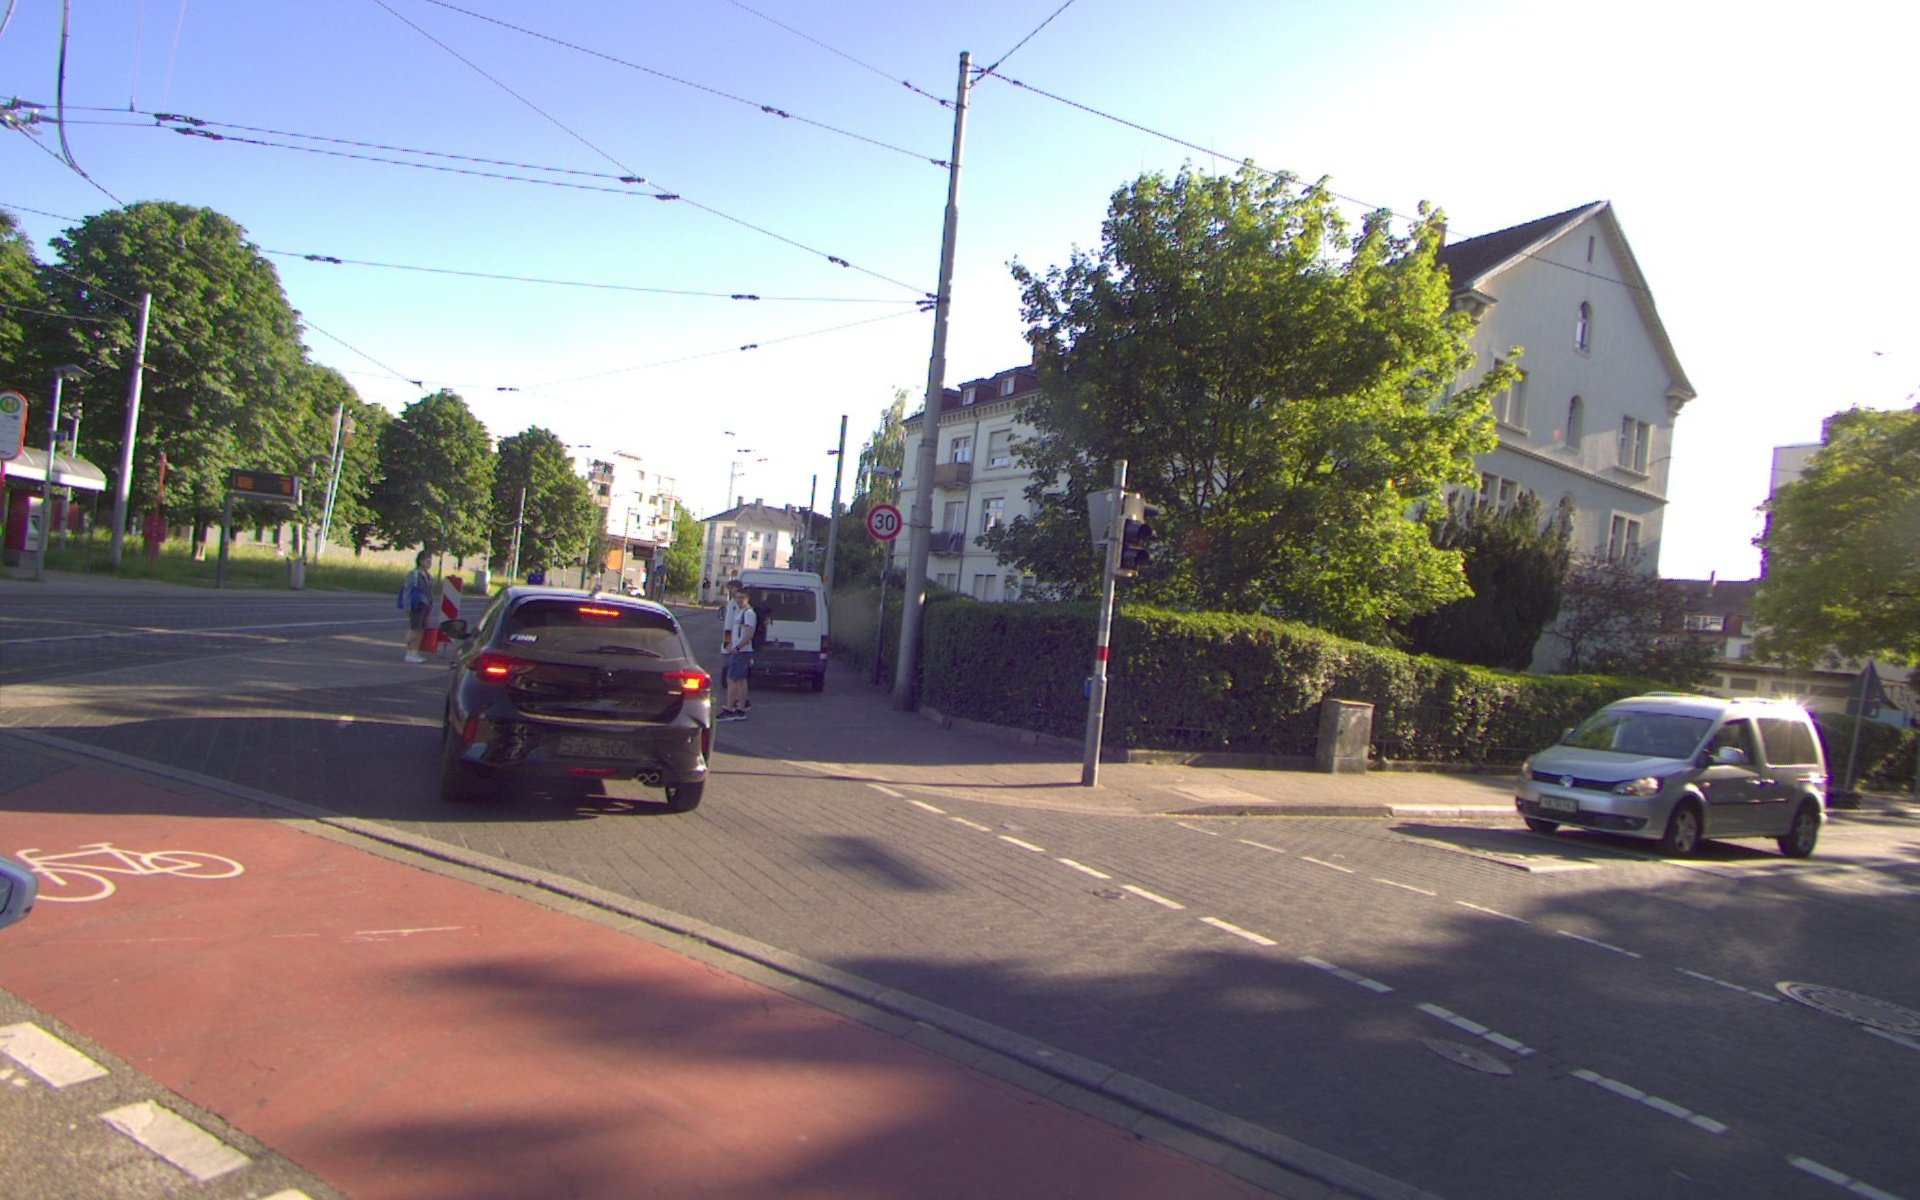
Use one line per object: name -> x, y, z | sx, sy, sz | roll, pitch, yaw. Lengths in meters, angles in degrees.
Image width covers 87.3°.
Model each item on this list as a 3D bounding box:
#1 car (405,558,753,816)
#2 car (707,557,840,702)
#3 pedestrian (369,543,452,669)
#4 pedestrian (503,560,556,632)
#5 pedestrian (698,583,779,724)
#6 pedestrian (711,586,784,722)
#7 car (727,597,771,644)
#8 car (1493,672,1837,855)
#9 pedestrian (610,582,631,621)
car -> -3.176, 0.522, 7.829 | 1.787, 1.458, 3.910 | 7, -1, -30
car -> -3.780, 0.590, 19.933 | 2.063, 2.303, 4.299 | 8, -3, -13
pedestrian -> -7.945, 0.081, 14.544 | 0.691, 1.713, 0.724 | 6, 0, 43
pedestrian -> -11.696, -0.107, 27.379 | 0.945, 1.814, 0.994 | 7, -1, -12
pedestrian -> -3.007, 0.729, 13.661 | 0.695, 1.814, 0.611 | 7, 0, -38
pedestrian -> -3.095, 0.780, 14.683 | 0.691, 1.868, 0.701 | 6, 0, 2
car -> -10.084, 0.960, 47.898 | 1.777, 1.950, 3.931 | 7, -1, -13
car -> 8.687, 2.005, 12.332 | 4.143, 1.833, 1.795 | 7, -4, -29
pedestrian -> -16.235, 0.073, 48.141 | 0.669, 1.814, 0.994 | 6, -1, -11
